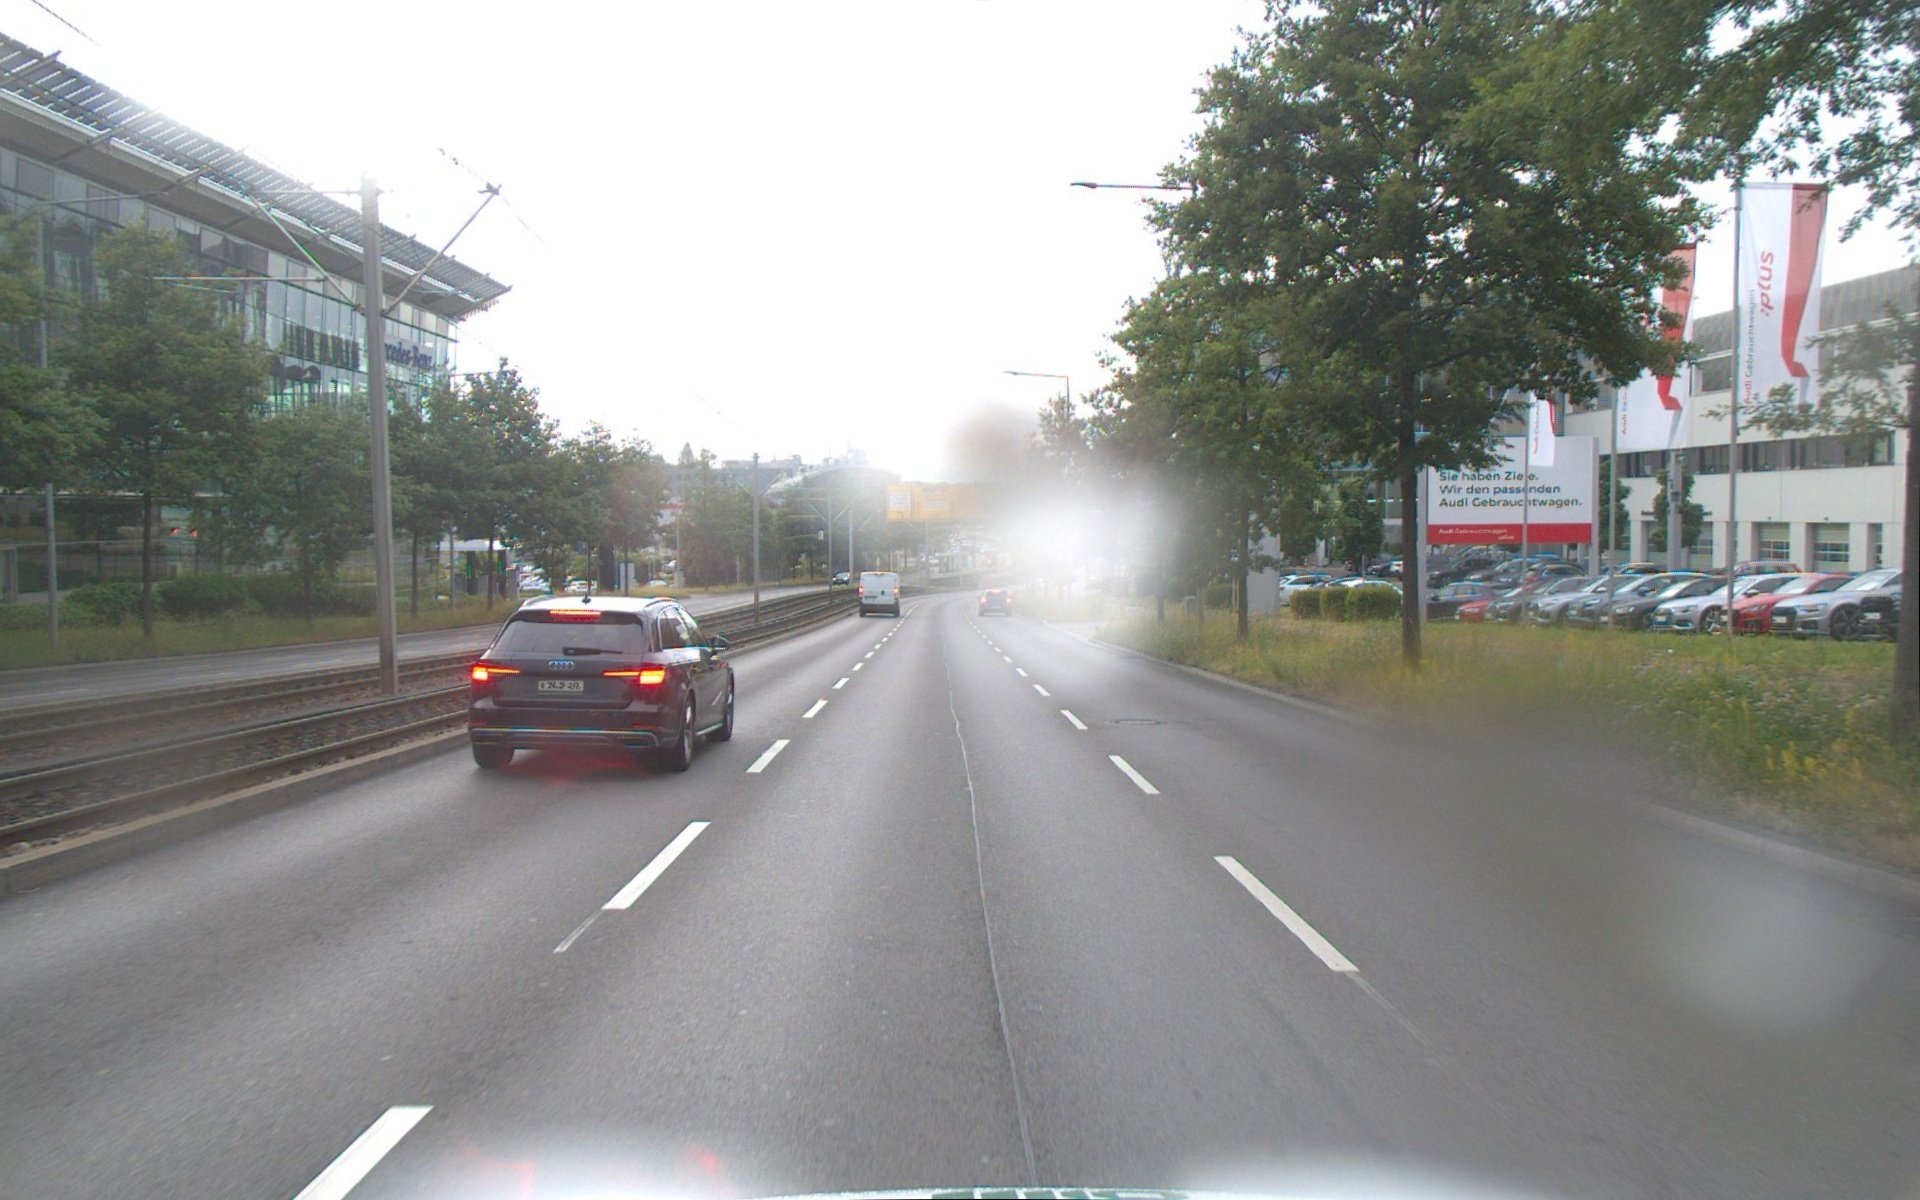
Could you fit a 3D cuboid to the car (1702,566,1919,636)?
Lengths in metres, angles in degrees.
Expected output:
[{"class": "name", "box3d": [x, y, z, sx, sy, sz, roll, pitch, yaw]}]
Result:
[{"class": "car", "box3d": [18.890, 0.031, 36.327, 4.309, 1.372, 1.930, -2, -1, -2]}]

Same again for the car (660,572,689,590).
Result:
[{"class": "car", "box3d": [-29.189, -1.941, 169.343, 1.952, 1.679, 4.002, 1, 0, 4]}]

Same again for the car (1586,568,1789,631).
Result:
[{"class": "car", "box3d": [18.703, -0.006, 42.623, 4.371, 1.481, 1.930, -2, 0, -2]}]

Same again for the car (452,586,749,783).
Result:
[{"class": "car", "box3d": [-3.060, 0.633, 15.032, 1.728, 1.489, 4.626, 1, 0, -1]}]

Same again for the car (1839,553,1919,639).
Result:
[{"class": "car", "box3d": [18.898, -0.109, 30.479, 4.308, 1.527, 2.040, -1, 0, -1]}]

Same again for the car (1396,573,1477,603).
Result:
[{"class": "car", "box3d": [26.875, -0.677, 93.405, 4.023, 1.601, 1.825, 1, 1, -2]}]

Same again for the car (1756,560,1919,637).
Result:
[{"class": "car", "box3d": [18.702, -0.048, 33.433, 4.308, 1.452, 1.890, -1, 0, -1]}]

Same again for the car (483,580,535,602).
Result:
[{"class": "car", "box3d": [-38.002, -0.757, 139.289, 3.911, 1.780, 1.997, 1, 0, -7]}]

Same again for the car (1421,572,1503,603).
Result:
[{"class": "car", "box3d": [27.525, -0.684, 90.744, 4.023, 1.601, 1.692, 0, 2, -2]}]

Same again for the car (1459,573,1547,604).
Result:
[{"class": "car", "box3d": [28.208, -0.595, 86.028, 4.023, 1.601, 1.692, 0, 0, -2]}]

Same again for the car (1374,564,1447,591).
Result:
[{"class": "car", "box3d": [27.900, -1.419, 102.555, 4.023, 1.601, 1.759, 1, 1, -2]}]

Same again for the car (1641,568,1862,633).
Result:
[{"class": "car", "box3d": [18.892, 0.021, 39.595, 4.371, 1.481, 1.930, -1, 0, -2]}]

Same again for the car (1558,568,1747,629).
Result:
[{"class": "car", "box3d": [18.975, -0.038, 45.430, 4.371, 1.555, 1.930, -1, 0, -2]}]

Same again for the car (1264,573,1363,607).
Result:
[{"class": "car", "box3d": [17.208, -0.482, 80.626, 4.428, 1.622, 1.692, 0, 0, -2]}]

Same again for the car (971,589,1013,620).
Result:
[{"class": "car", "box3d": [1.746, 0.263, 91.464, 1.981, 1.651, 3.997, 1, 0, -3]}]

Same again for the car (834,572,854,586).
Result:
[{"class": "car", "box3d": [-13.516, -2.468, 193.616, 1.844, 1.547, 4.404, -3, 1, 2]}]

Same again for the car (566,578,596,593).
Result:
[{"class": "car", "box3d": [-41.447, -1.570, 180.829, 1.974, 1.536, 3.956, 2, 0, -32]}]

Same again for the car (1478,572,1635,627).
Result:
[{"class": "car", "box3d": [18.404, -0.018, 51.117, 4.191, 1.621, 1.825, -1, 0, -4]}]

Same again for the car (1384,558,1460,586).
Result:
[{"class": "car", "box3d": [27.570, -1.653, 98.708, 4.023, 1.601, 1.692, 1, 1, -2]}]

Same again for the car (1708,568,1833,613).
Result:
[{"class": "car", "box3d": [34.934, -0.425, 71.387, 4.432, 1.887, 2.001, 0, 1, 2]}]

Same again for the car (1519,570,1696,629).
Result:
[{"class": "car", "box3d": [18.886, -0.010, 48.362, 4.371, 1.578, 1.930, -1, 0, -2]}]

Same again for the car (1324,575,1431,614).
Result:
[{"class": "car", "box3d": [17.842, -0.208, 70.765, 4.030, 1.622, 1.944, 0, -1, -9]}]

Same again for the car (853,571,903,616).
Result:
[{"class": "car", "box3d": [-4.278, -0.306, 86.341, 2.461, 2.215, 5.146, 1, 0, -3]}]

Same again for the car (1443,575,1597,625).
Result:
[{"class": "car", "box3d": [18.371, 0.000, 54.342, 4.375, 1.578, 1.929, -1, 0, -6]}]

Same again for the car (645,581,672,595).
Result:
[{"class": "car", "box3d": [-33.590, -1.364, 184.296, 1.969, 1.536, 3.967, 1, 0, -26]}]

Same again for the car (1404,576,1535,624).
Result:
[{"class": "car", "box3d": [17.988, 0.005, 58.556, 1.814, 1.621, 4.313, 0, 0, -32]}]

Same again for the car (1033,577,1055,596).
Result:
[{"class": "car", "box3d": [8.906, -1.466, 176.154, 1.980, 1.800, 4.000, 1, 3, -2]}]
